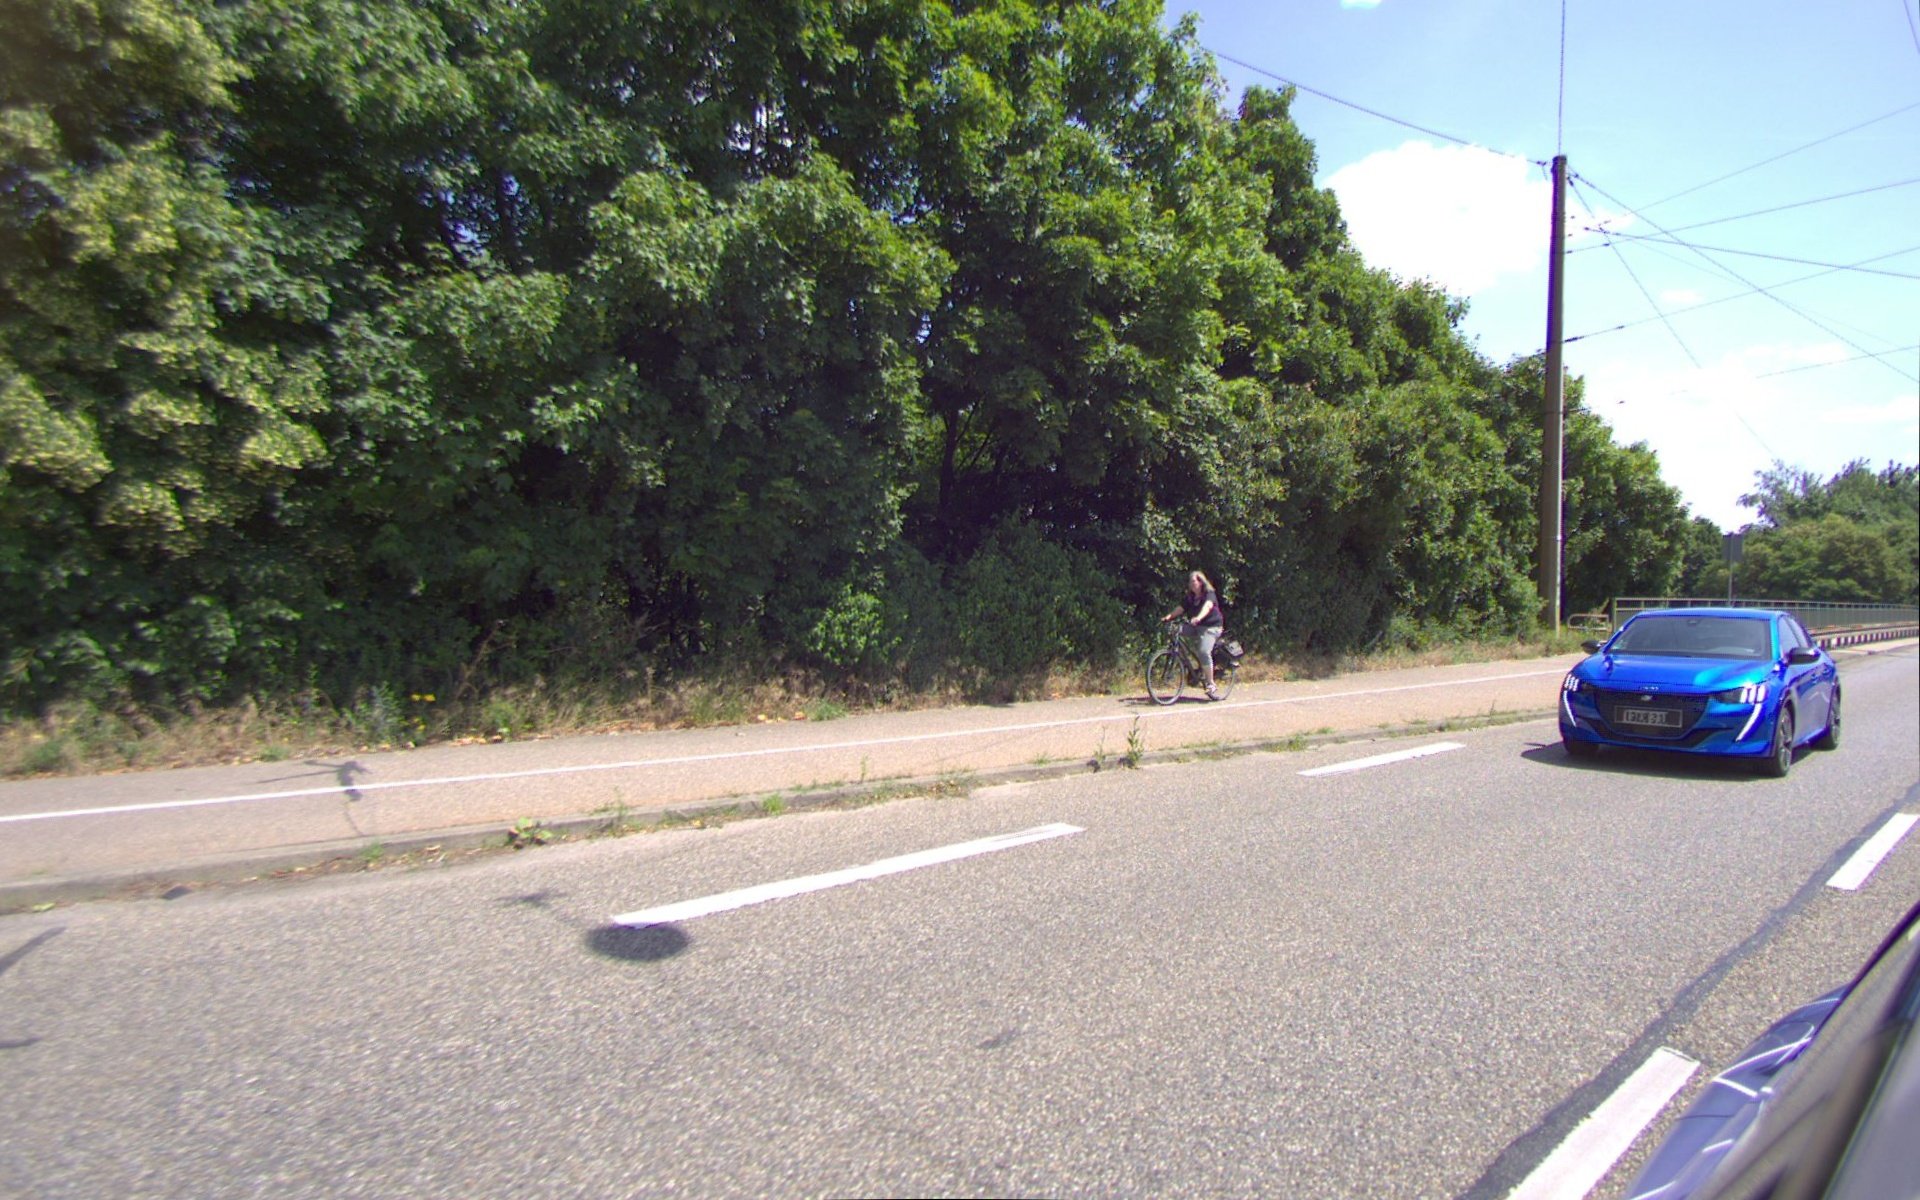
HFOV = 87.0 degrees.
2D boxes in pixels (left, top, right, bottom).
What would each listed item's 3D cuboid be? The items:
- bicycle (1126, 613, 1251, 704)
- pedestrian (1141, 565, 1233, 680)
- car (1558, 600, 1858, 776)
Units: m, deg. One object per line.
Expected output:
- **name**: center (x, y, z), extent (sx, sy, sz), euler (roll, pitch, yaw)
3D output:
- **bicycle**: center (2.922, 0.710, 12.833), extent (1.815, 1.037, 0.561), euler (0, 1, -41)
- **pedestrian**: center (2.883, 0.262, 12.827), extent (1.032, 1.391, 0.629), euler (0, 1, -41)
- **car**: center (7.515, 0.713, 10.055), extent (3.678, 1.423, 1.658), euler (0, 0, -41)
